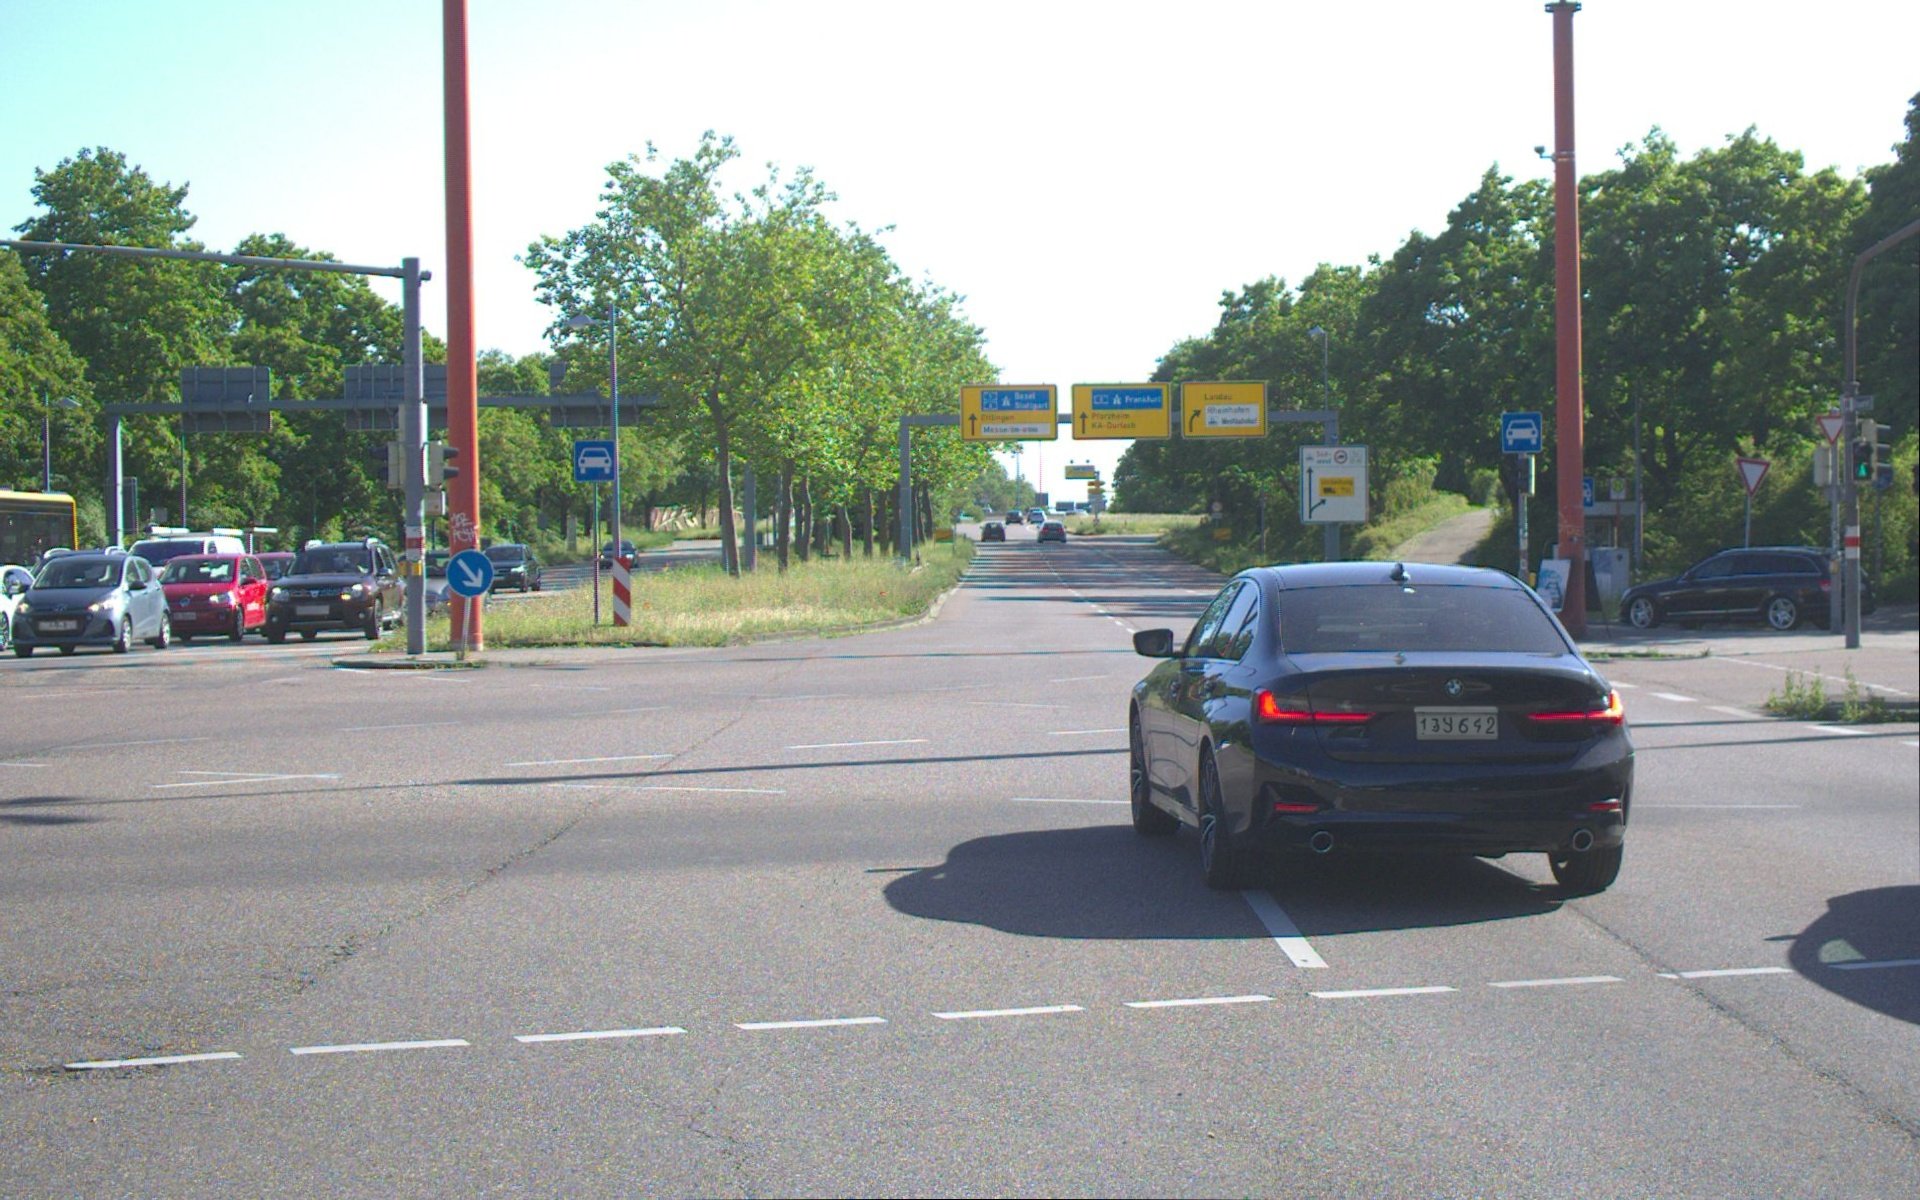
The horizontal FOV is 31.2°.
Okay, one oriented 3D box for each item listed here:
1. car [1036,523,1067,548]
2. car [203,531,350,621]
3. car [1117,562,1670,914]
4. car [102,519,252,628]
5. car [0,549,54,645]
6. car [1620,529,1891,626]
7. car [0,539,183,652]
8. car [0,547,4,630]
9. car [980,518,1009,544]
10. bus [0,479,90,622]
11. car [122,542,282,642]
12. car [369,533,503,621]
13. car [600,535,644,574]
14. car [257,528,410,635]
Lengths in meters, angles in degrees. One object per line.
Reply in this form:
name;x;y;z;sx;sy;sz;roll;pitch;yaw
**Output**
car;6.392;-4.514;241.463;1.993;1.727;4.000;1;1;-1
car;-12.810;-0.456;64.615;1.901;1.624;4.000;0;1;1
car;1.892;0.549;16.328;1.763;1.436;4.295;1;1;-4
car;-16.071;-0.569;70.819;1.961;2.147;5.082;-1;1;-1
car;-16.536;-0.053;57.271;1.901;1.549;4.000;-2;1;-2
car;13.922;-0.415;60.288;4.295;1.630;1.765;1;1;43
car;-13.223;-0.101;52.280;1.874;1.545;4.028;-2;1;-1
car;-19.995;-0.199;66.795;1.778;1.646;3.974;-3;0;-2
car;2.446;-4.900;244.678;1.993;1.727;4.000;1;1;-1
bus;-23.110;-1.154;79.475;2.646;3.250;12.536;1;1;1
car;-12.871;-0.160;58.618;1.875;1.547;4.000;-4;1;-2
car;-9.693;-0.446;63.834;1.885;1.538;4.000;-2;1;-1
car;-17.793;-2.423;181.378;1.920;1.992;4.604;-1;1;-1
car;-10.217;-0.330;56.356;1.793;1.620;4.144;-2;1;-1
